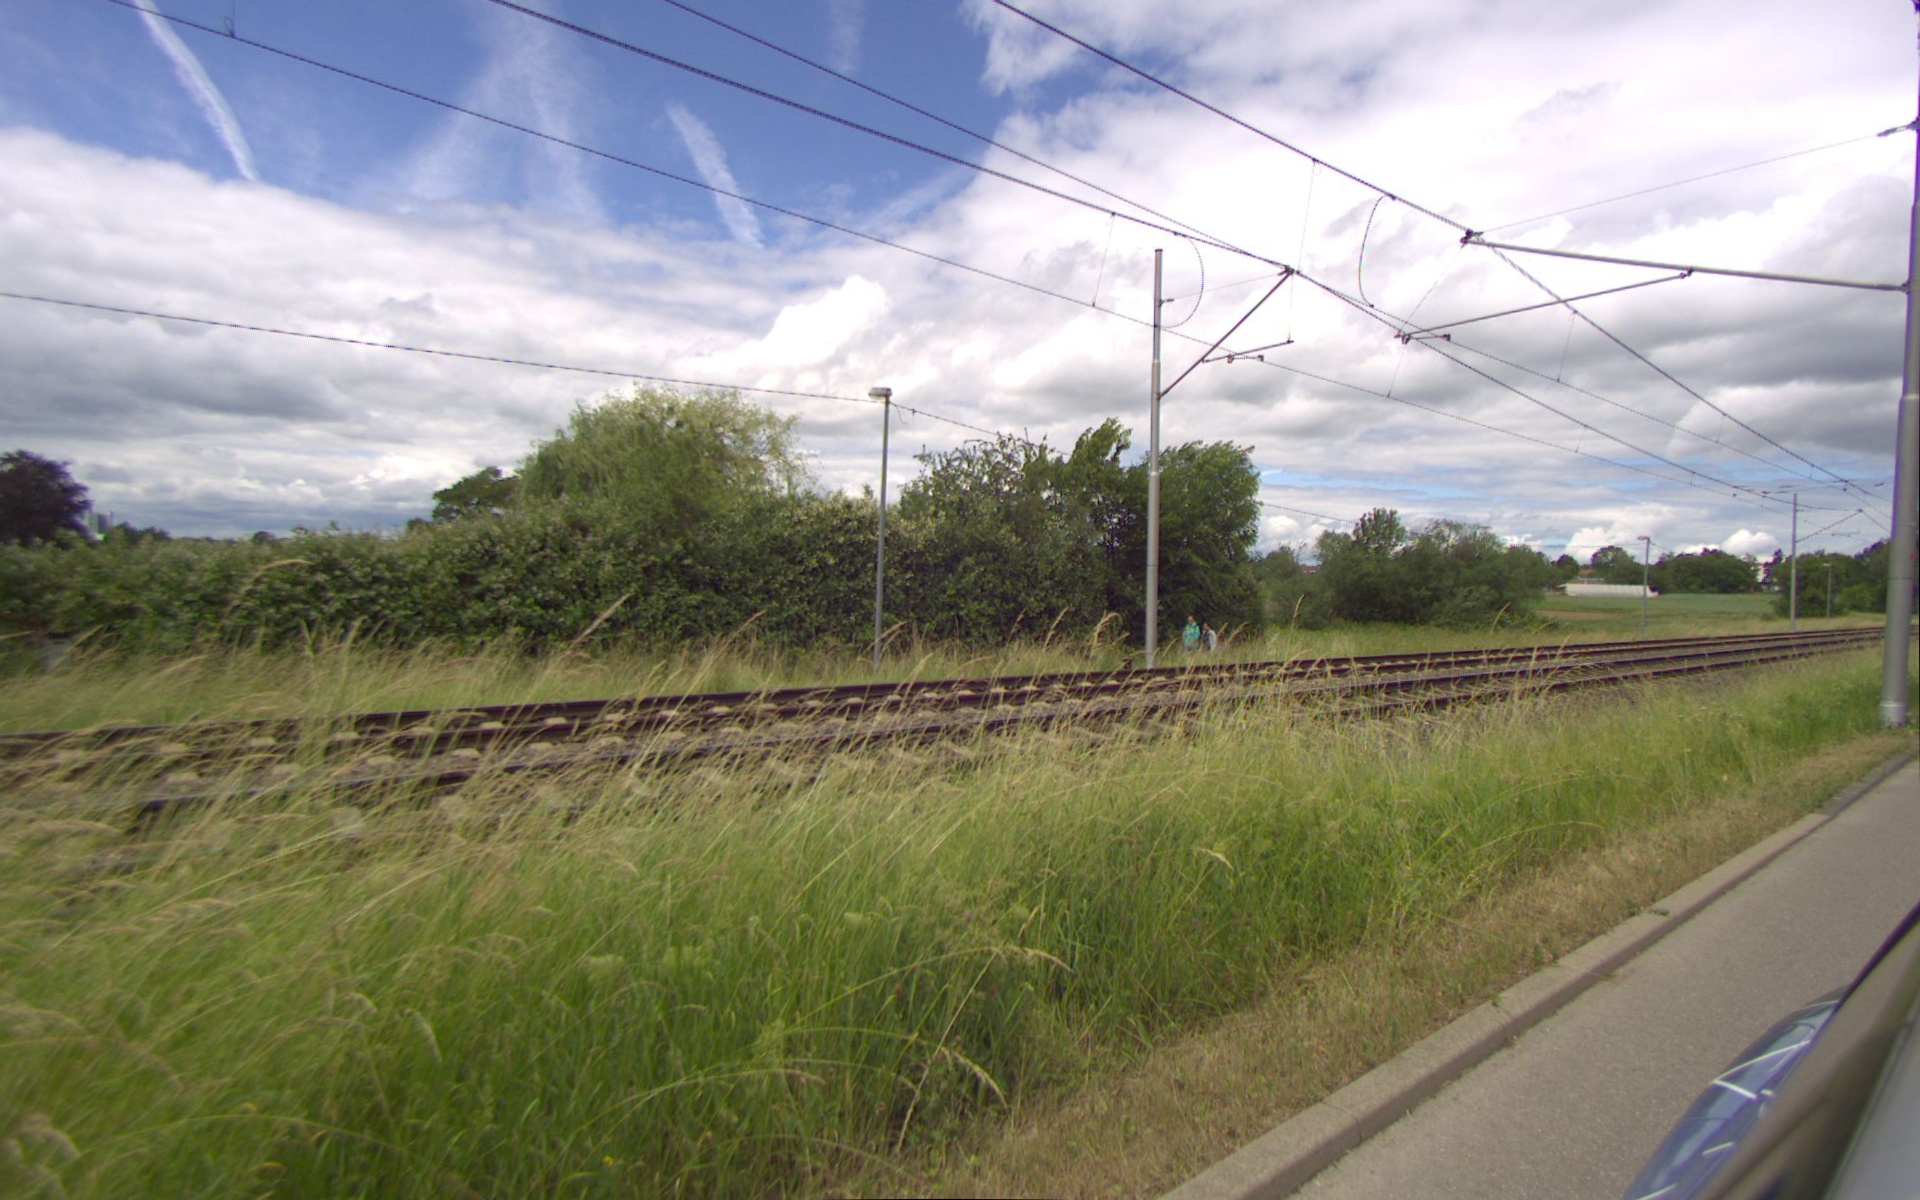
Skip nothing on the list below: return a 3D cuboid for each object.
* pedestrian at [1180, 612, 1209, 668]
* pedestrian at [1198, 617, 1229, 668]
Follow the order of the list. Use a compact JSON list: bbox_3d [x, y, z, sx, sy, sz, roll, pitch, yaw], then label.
[{"bbox_3d":[6.982,1.187,30.088,0.572,1.643,0.618,1,-1,-34],"label":"pedestrian"},{"bbox_3d":[7.369,1.211,29.387,0.654,1.449,0.600,1,-1,-35],"label":"pedestrian"}]
